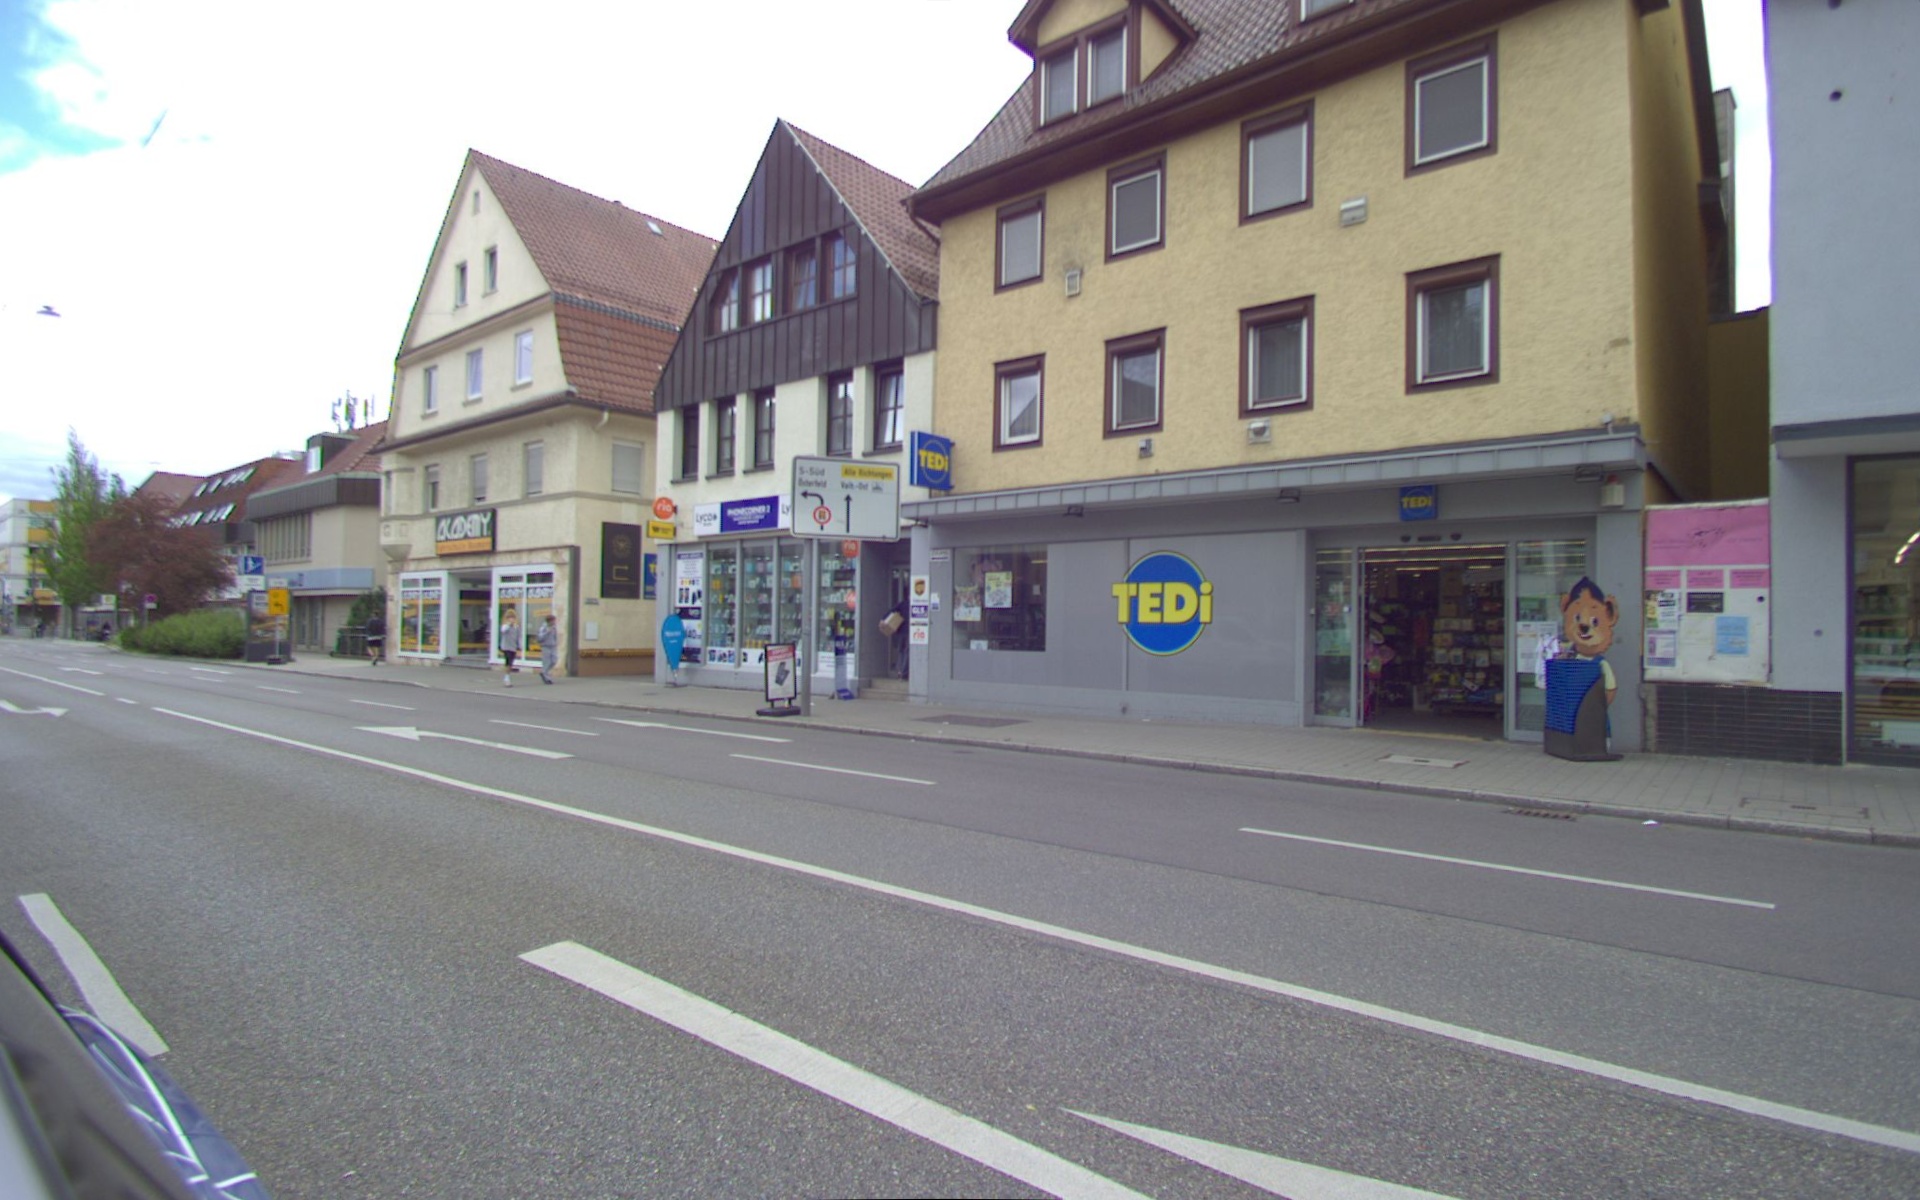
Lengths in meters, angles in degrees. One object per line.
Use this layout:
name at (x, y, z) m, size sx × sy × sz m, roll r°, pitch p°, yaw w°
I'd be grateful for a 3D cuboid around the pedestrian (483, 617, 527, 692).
pedestrian at (-10.620, 1.251, 23.612) m, size 0.742 × 1.703 × 0.680 m, roll -2°, pitch -1°, yaw 41°

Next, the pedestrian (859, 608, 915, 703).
pedestrian at (-1.362, 1.013, 18.809) m, size 0.775 × 1.726 × 0.679 m, roll -2°, pitch -1°, yaw 41°

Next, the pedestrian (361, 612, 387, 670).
pedestrian at (-19.534, 1.367, 33.747) m, size 0.592 × 1.903 × 0.544 m, roll -1°, pitch -1°, yaw 37°

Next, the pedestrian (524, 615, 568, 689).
pedestrian at (-9.836, 1.222, 24.062) m, size 0.709 × 1.683 × 0.680 m, roll -2°, pitch 0°, yaw 41°
